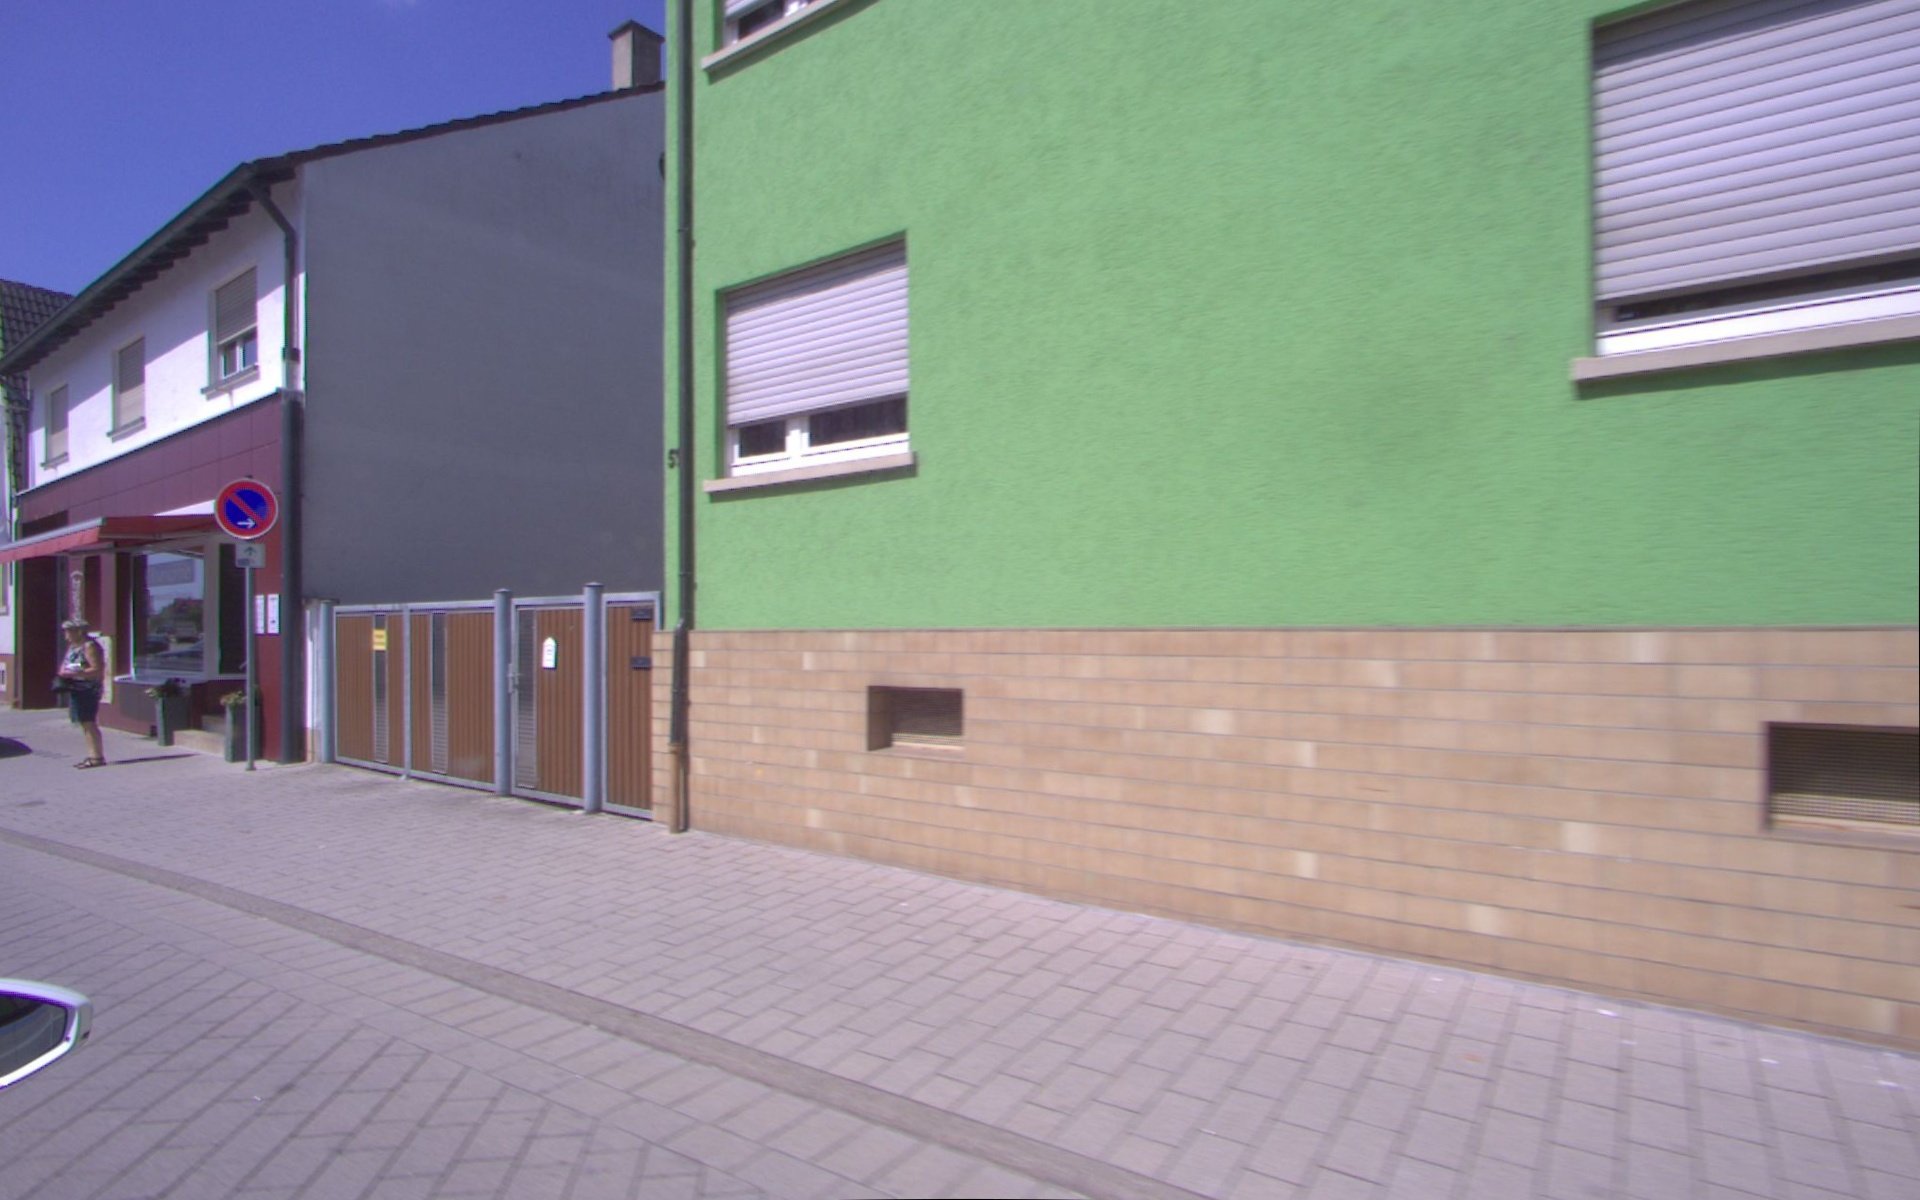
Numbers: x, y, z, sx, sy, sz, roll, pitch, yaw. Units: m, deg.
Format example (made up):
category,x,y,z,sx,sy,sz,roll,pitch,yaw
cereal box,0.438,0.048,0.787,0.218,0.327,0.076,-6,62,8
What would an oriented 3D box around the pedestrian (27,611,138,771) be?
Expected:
category,x,y,z,sx,sy,sz,roll,pitch,yaw
pedestrian,-9.721,0.976,11.098,0.739,1.662,0.726,-1,1,37
